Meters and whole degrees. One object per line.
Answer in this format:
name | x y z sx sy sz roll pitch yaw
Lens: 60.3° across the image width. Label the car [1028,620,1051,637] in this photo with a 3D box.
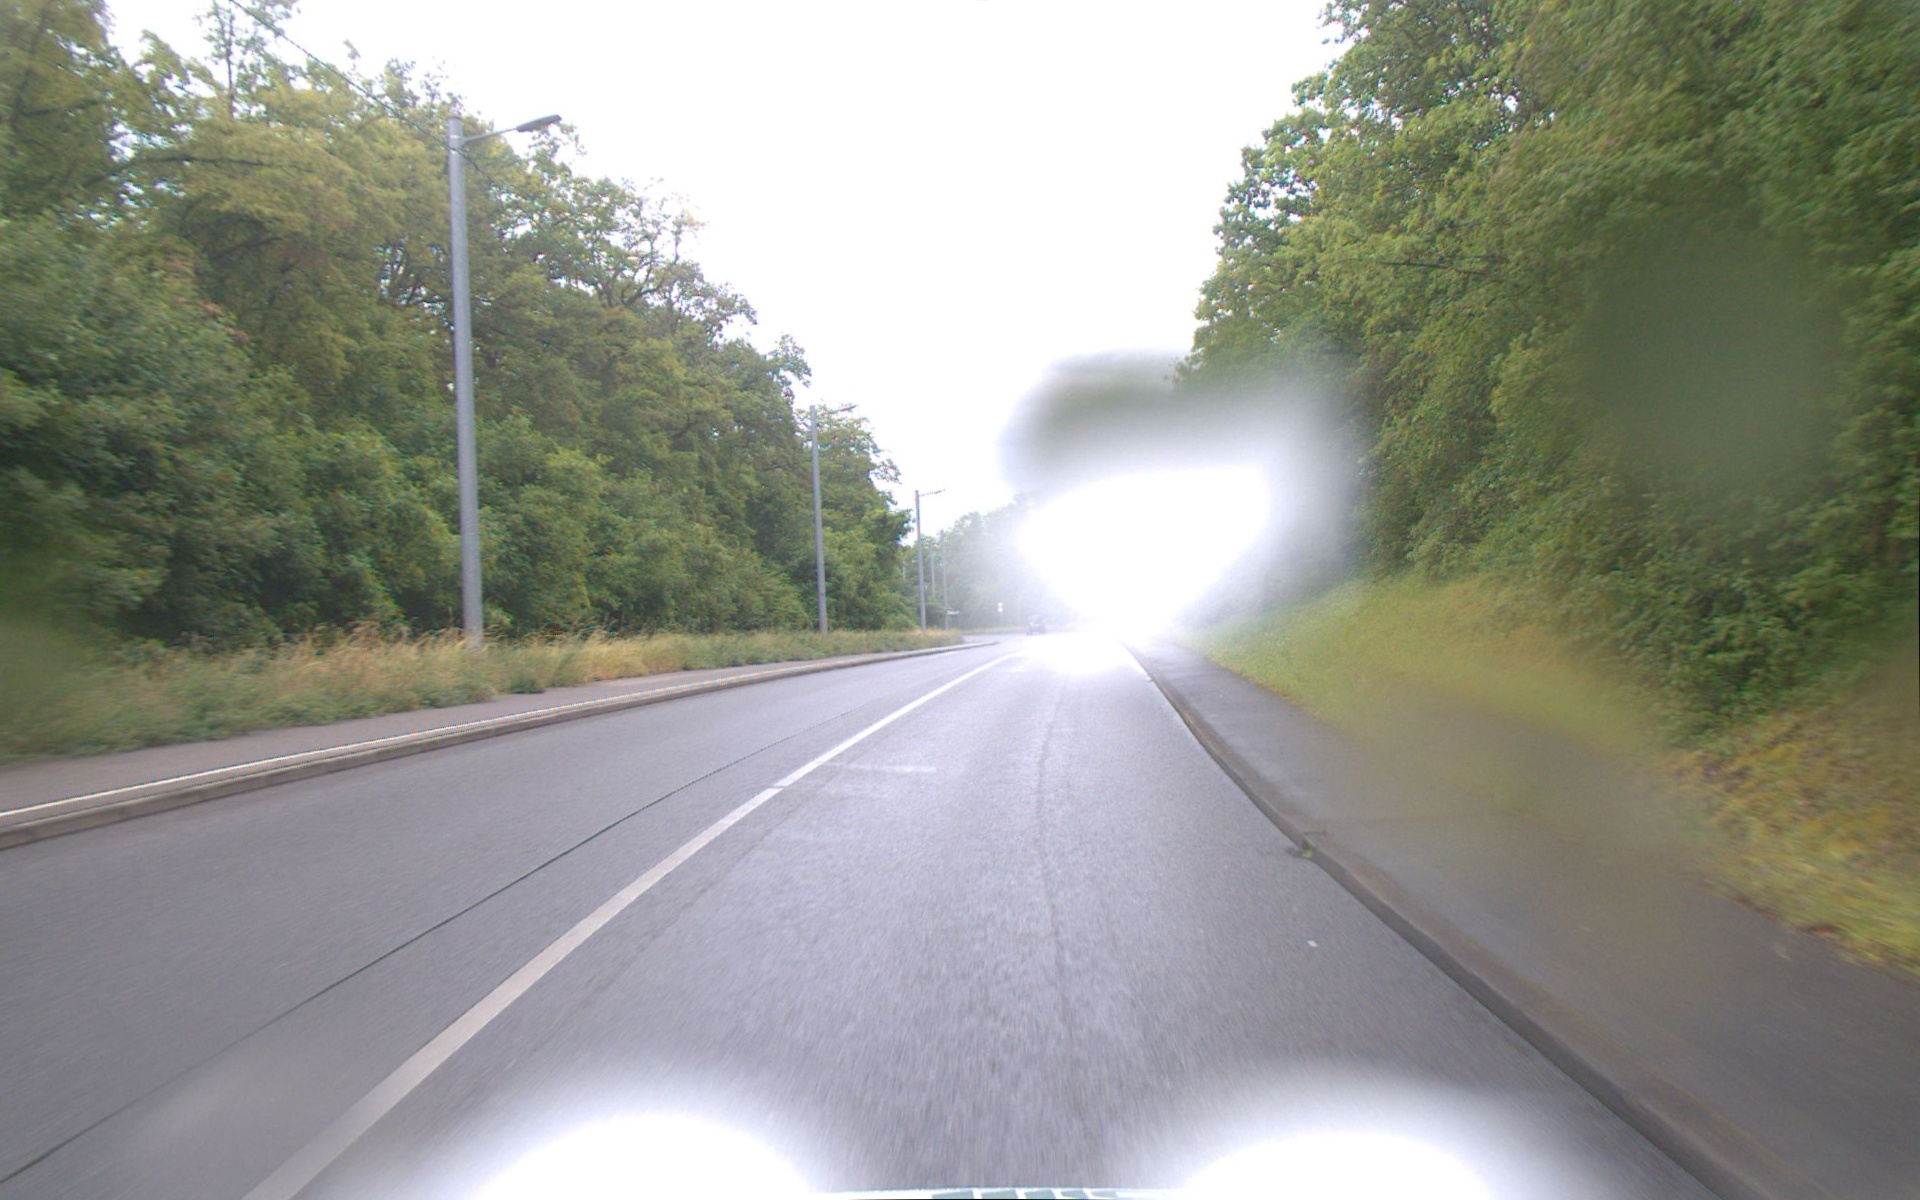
car | 7.806 2.792 162.637 1.830 1.624 3.997 1 -2 -3
